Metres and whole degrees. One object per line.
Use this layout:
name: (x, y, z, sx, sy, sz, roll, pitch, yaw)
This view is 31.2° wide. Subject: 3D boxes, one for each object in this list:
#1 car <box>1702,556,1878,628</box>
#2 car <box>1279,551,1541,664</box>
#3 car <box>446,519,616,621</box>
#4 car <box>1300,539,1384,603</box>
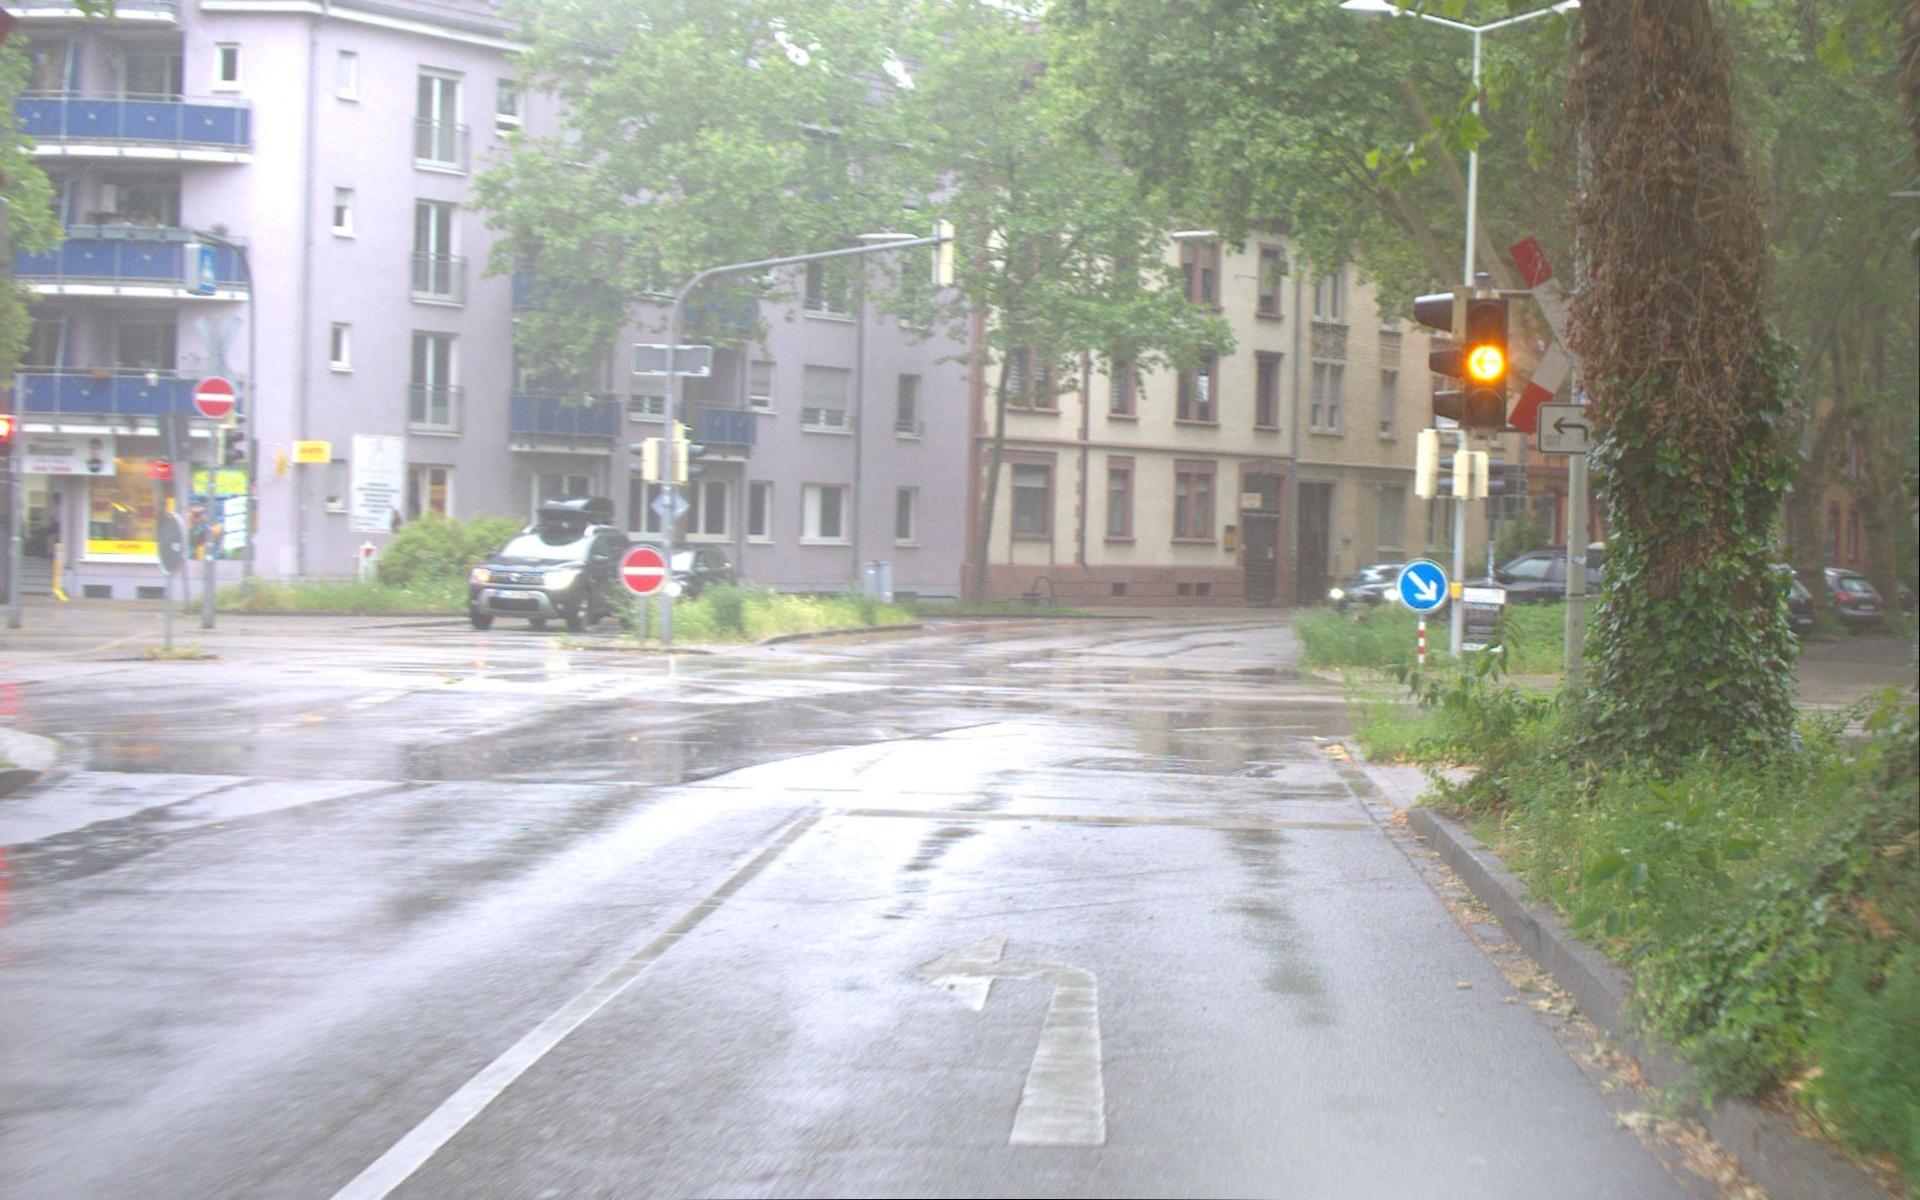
car: (19.163, -0.202, 79.445, 3.612, 1.612, 1.679, 1, 1, 32)
car: (6.253, 0.094, 47.655, 3.481, 1.518, 1.519, 0, 1, 12)
car: (-6.716, -0.497, 54.153, 1.725, 1.547, 3.558, 0, 1, 9)
car: (9.589, -0.735, 86.179, 1.603, 1.547, 3.557, 0, 1, 14)
